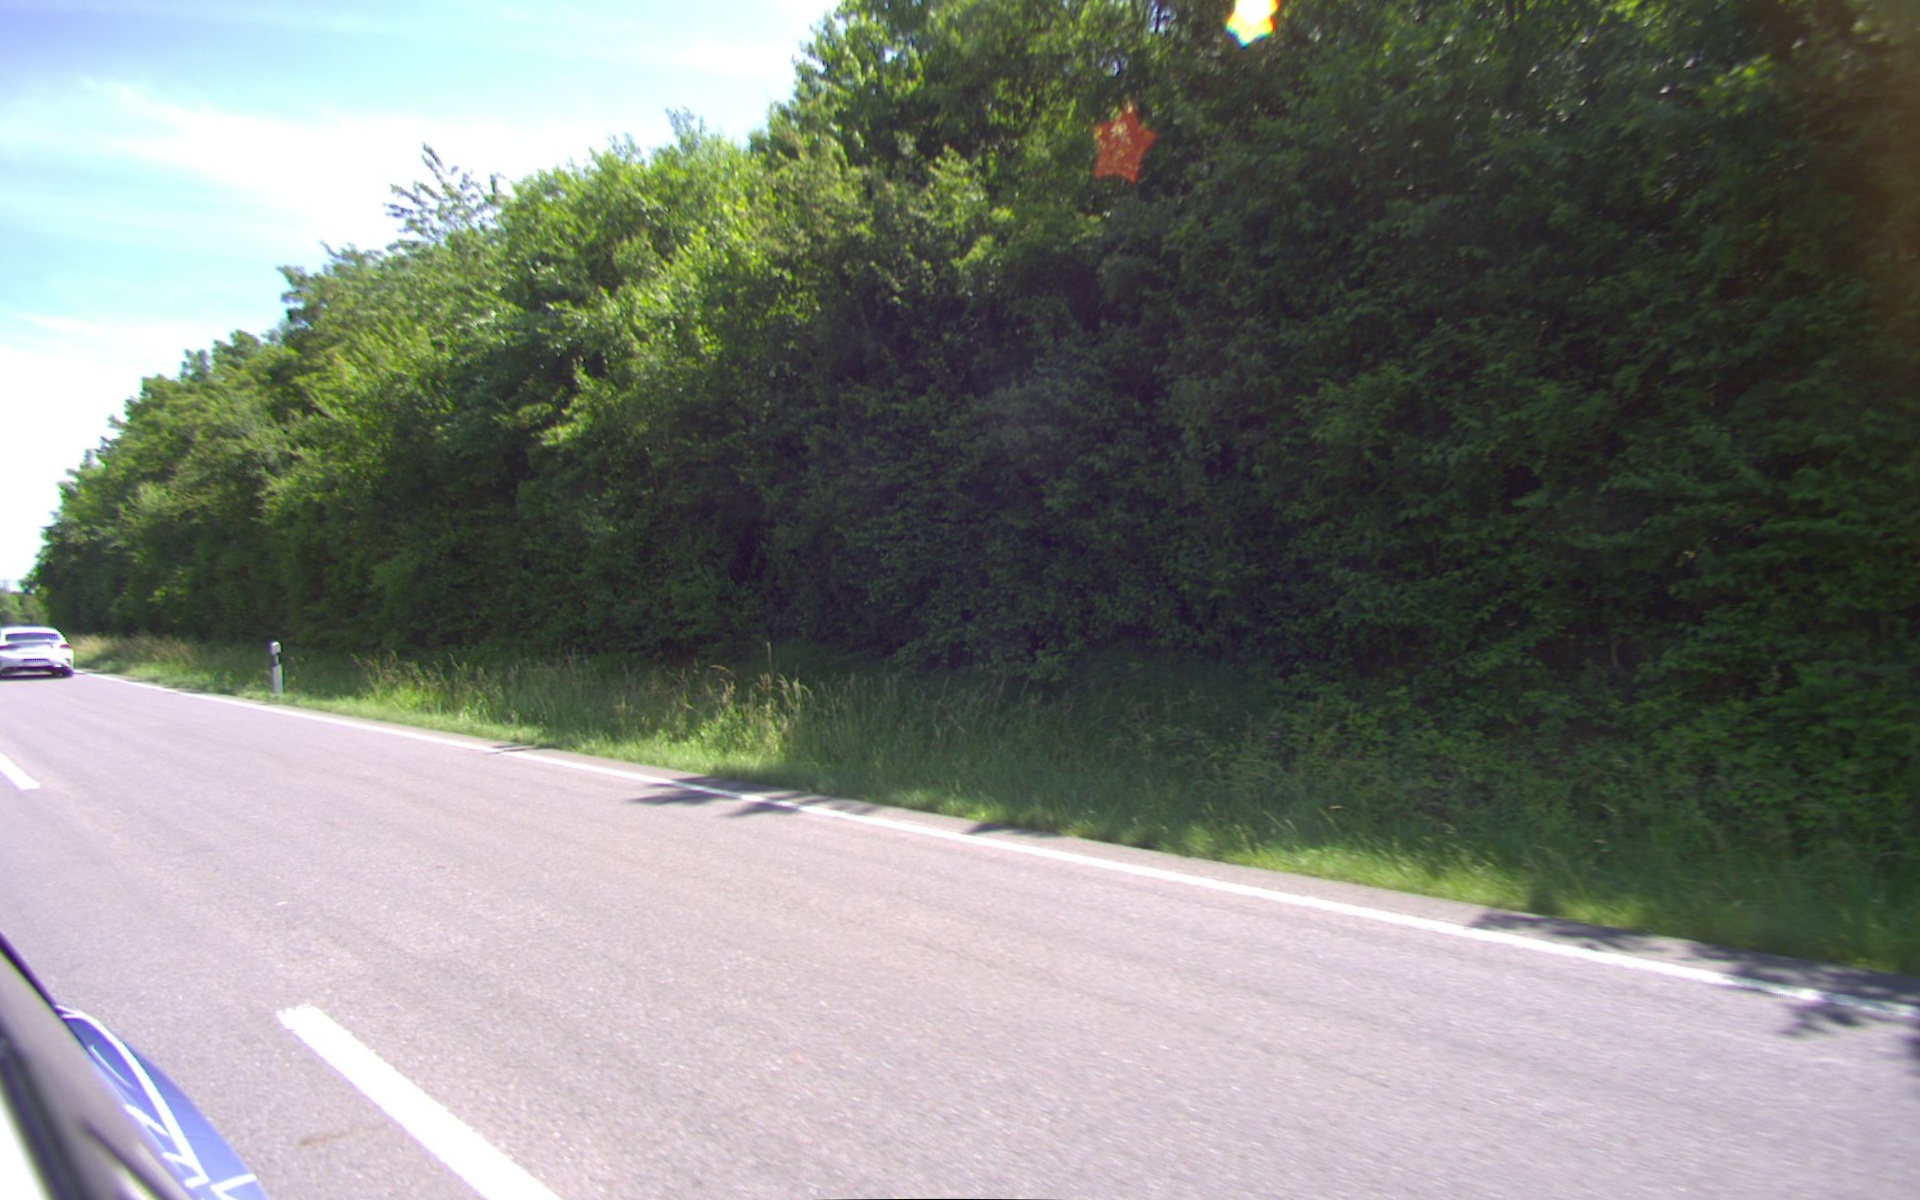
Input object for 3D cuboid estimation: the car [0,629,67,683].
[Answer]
[{"bbox_3d":[-27.838,1.606,29.893,4.758,1.472,1.660,-2,-1,42],"label":"car"}]
